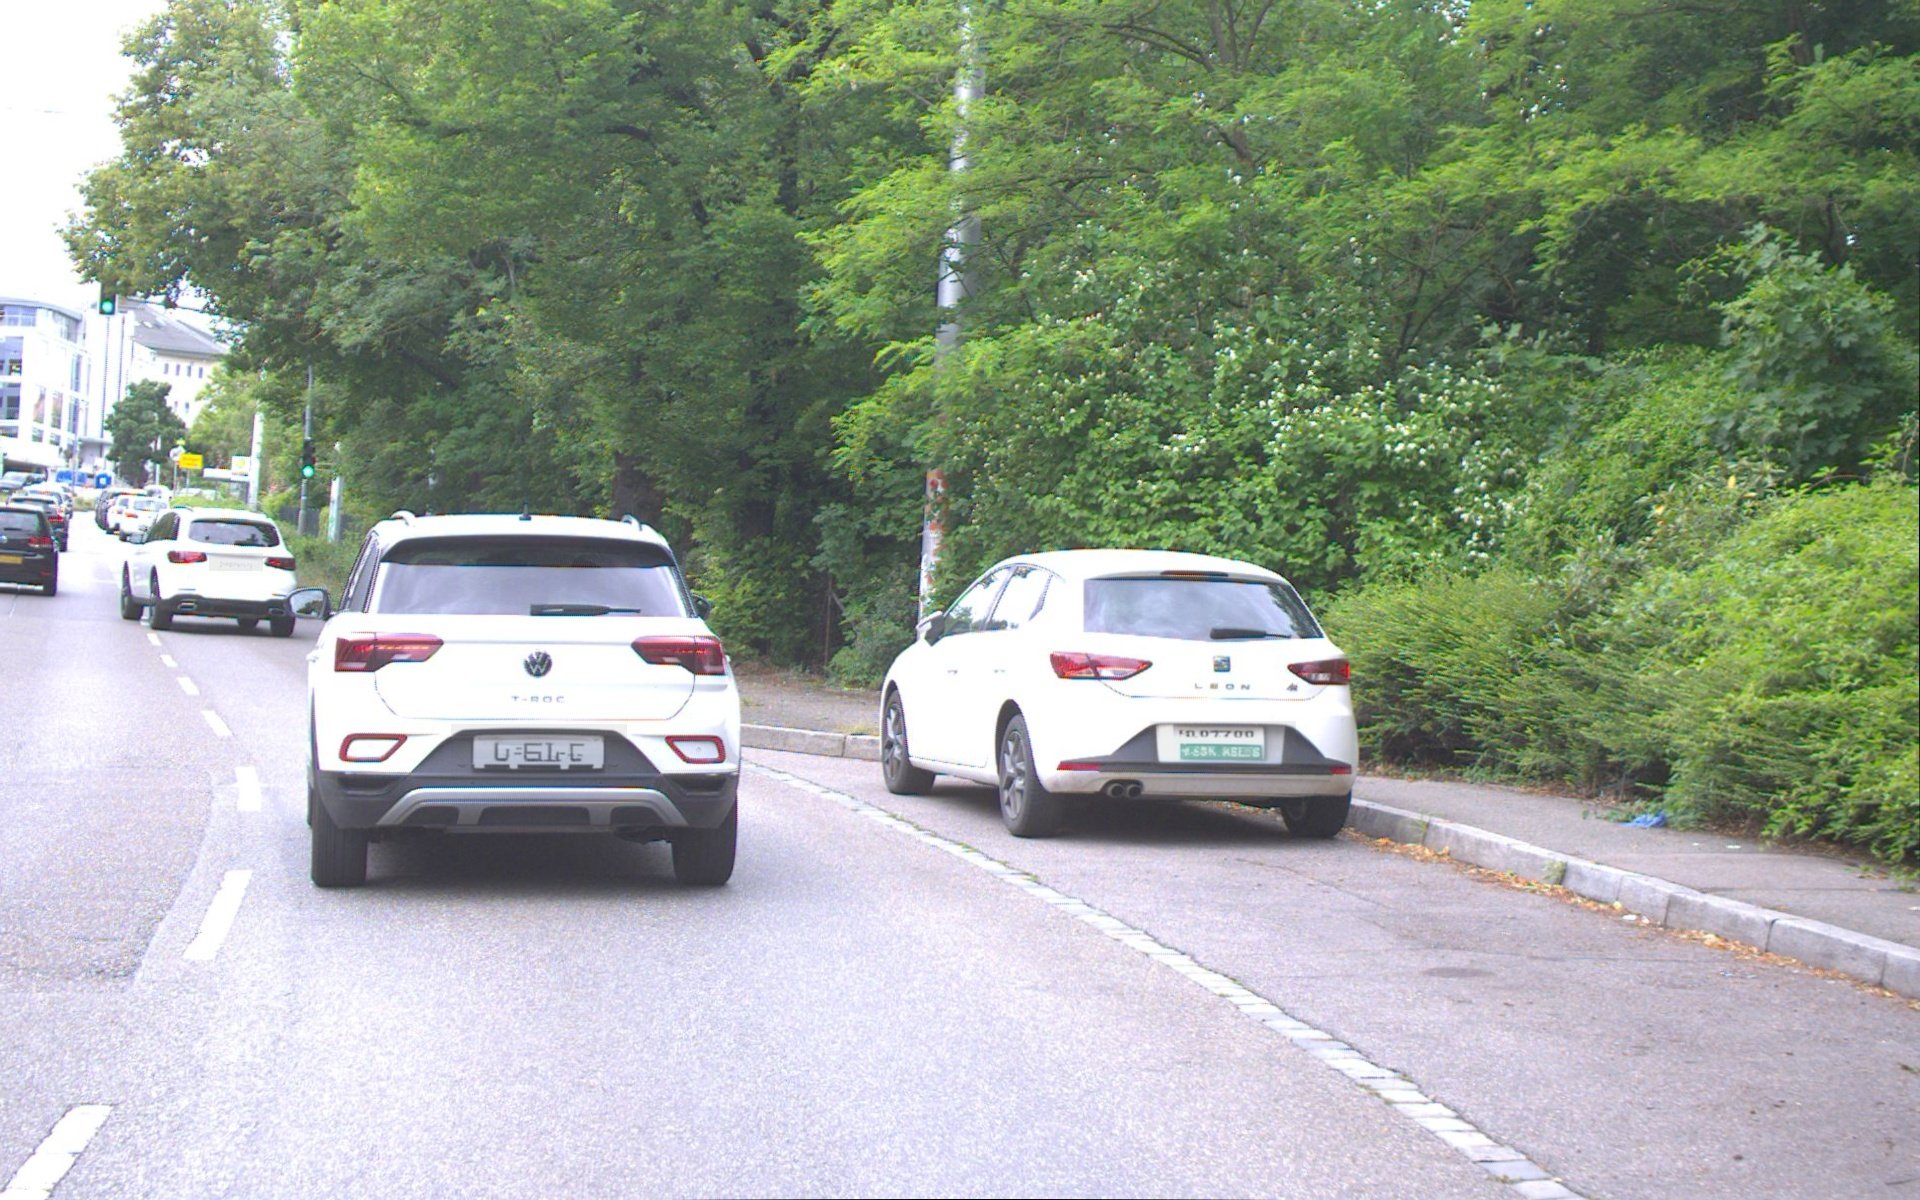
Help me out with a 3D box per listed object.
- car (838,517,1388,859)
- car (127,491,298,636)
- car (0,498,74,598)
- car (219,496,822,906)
[{"bbox_3d":[0.670,0.379,18.837,1.732,1.477,4.703,3,2,-13],"label":"car"},{"bbox_3d":[-10.132,-0.528,46.427,1.851,1.696,4.002,0,4,-18],"label":"car"},{"bbox_3d":[-15.860,-0.911,56.635,1.949,1.461,4.002,3,2,-21],"label":"car"},{"bbox_3d":[-2.130,0.347,15.563,2.000,1.590,4.001,0,1,-18],"label":"car"}]
